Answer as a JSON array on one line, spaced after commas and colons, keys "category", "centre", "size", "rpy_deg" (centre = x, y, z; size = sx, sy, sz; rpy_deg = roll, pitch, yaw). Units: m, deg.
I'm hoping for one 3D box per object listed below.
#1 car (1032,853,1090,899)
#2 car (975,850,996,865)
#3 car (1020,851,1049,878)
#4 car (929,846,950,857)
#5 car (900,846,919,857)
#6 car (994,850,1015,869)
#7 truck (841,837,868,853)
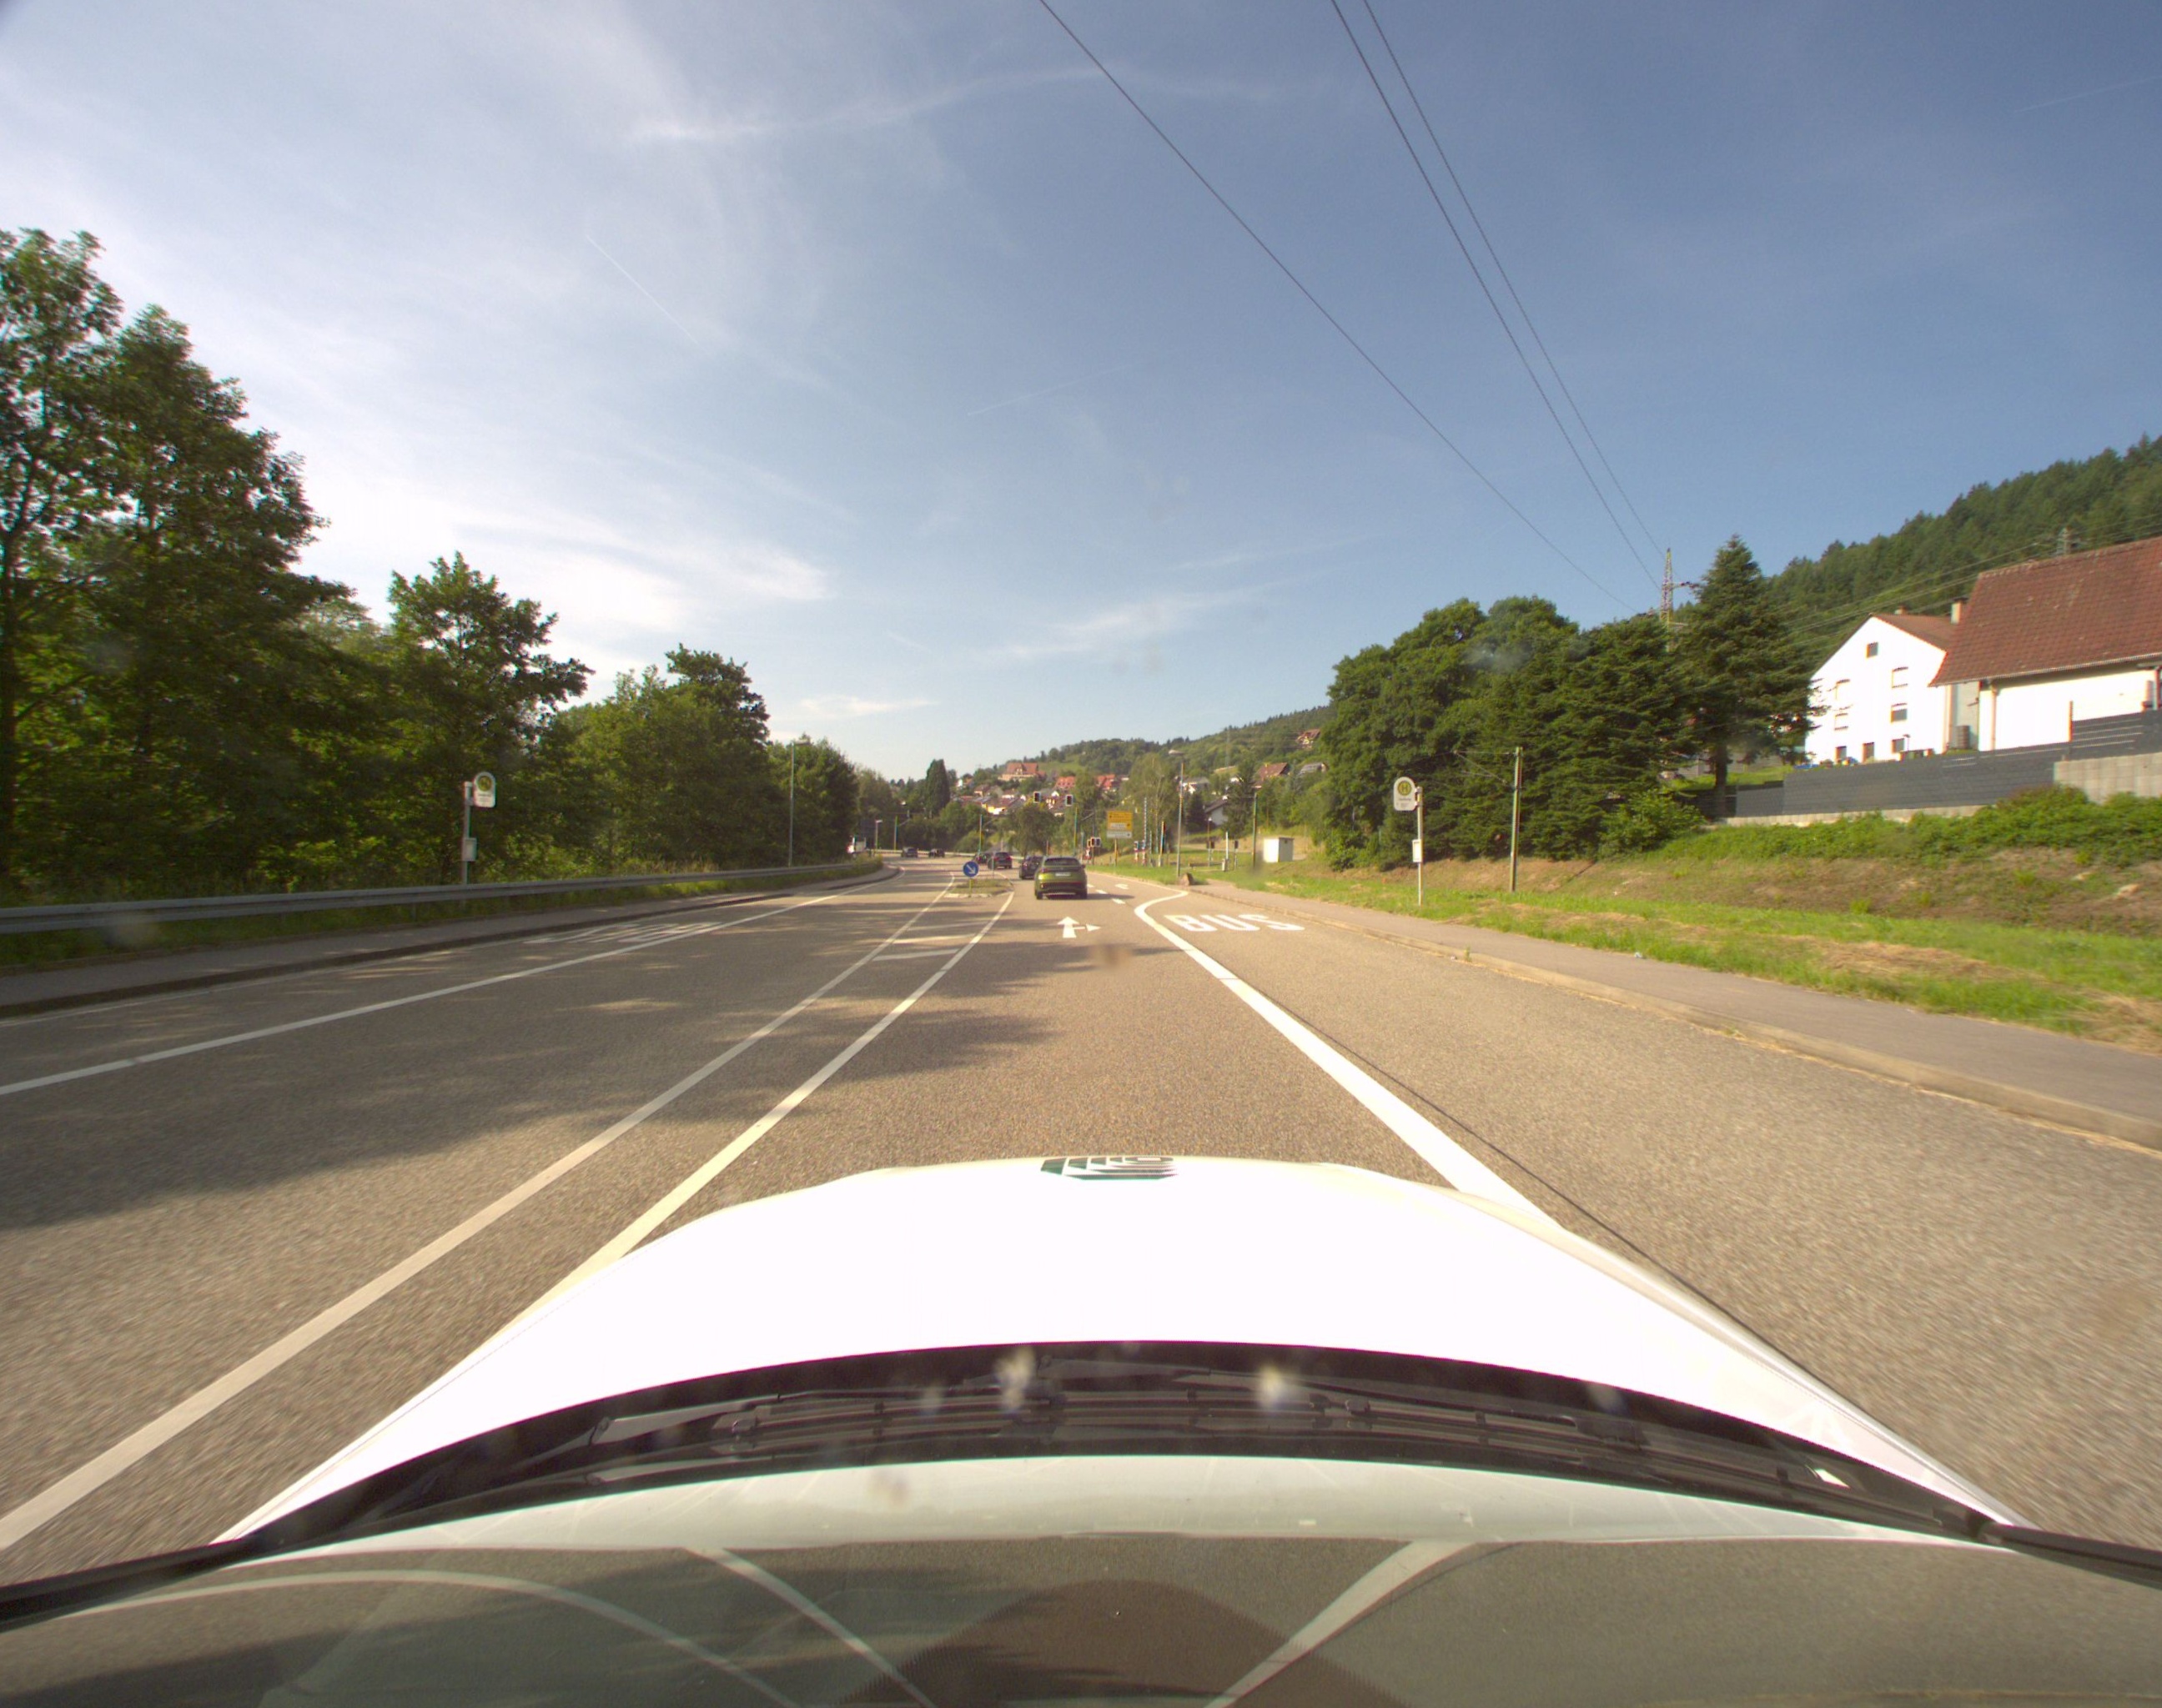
[{"category": "car", "centre": [-0.776, 0.712, 28.657], "size": [1.712, 1.455, 3.992], "rpy_deg": [-1, 0, -6]}, {"category": "car", "centre": [-10.569, 0.384, 89.872], "size": [1.851, 1.527, 3.645], "rpy_deg": [-1, 1, -14]}, {"category": "car", "centre": [-2.827, 0.609, 48.732], "size": [1.664, 1.559, 3.994], "rpy_deg": [-1, 0, -4]}, {"category": "car", "centre": [-23.041, -0.365, 132.126], "size": [2.007, 1.745, 3.960], "rpy_deg": [0, 0, -32]}, {"category": "car", "centre": [-28.334, -0.414, 134.715], "size": [2.075, 1.811, 3.964], "rpy_deg": [-1, 1, -28]}, {"category": "car", "centre": [-7.103, 0.507, 75.183], "size": [1.878, 1.686, 3.991], "rpy_deg": [-1, 0, -7]}, {"category": "truck", "centre": [-44.295, -1.781, 158.898], "size": [2.734, 3.084, 6.038], "rpy_deg": [2, 0, -40]}]
